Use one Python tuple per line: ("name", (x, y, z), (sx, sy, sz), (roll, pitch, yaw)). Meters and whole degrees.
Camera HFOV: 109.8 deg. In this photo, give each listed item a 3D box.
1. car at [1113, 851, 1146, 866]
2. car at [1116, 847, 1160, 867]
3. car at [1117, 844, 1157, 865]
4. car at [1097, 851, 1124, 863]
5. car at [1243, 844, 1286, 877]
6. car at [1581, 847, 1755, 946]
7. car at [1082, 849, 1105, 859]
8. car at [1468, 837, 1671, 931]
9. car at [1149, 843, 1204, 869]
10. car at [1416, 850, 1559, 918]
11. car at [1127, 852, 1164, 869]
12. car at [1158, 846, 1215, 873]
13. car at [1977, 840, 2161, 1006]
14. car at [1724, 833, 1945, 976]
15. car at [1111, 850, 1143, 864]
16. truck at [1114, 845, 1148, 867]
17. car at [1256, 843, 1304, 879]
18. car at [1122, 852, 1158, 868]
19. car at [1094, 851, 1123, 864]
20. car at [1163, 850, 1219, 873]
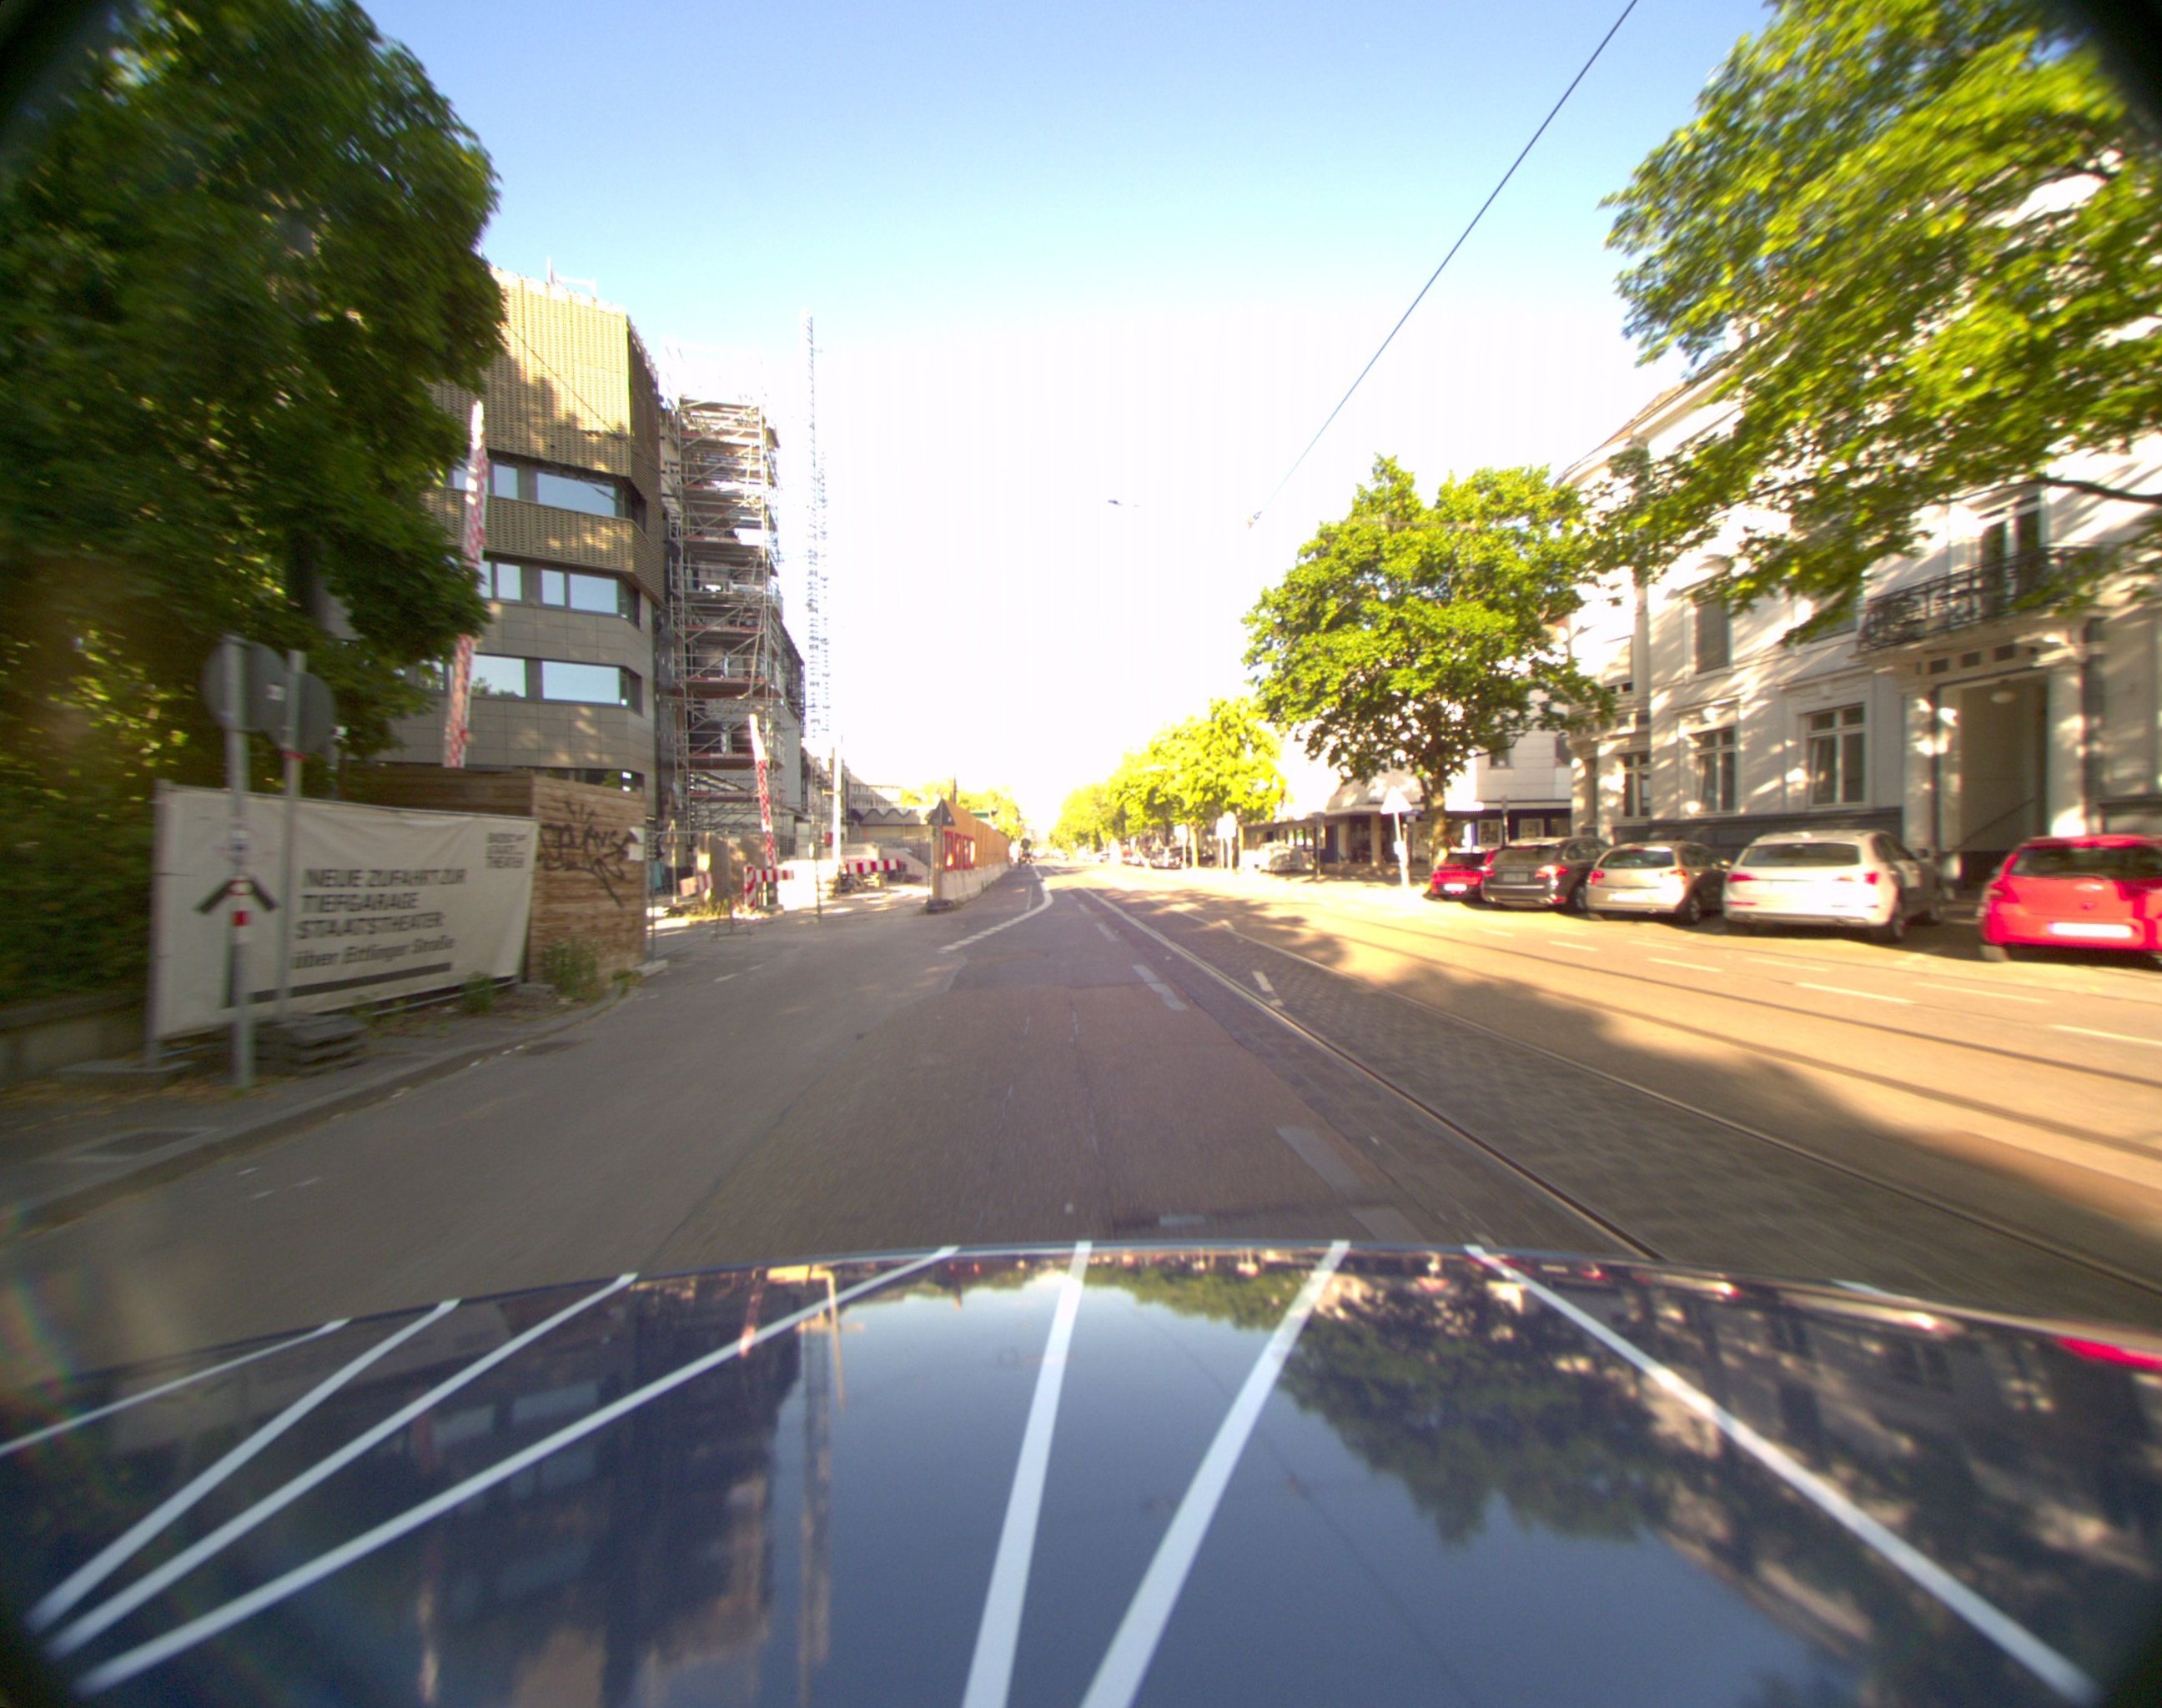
("car", (6.063, 0.514, 95.716), (3.773, 1.584, 1.671), (-4, 1, -9))
("car", (5.769, 0.272, 77.056), (4.102, 1.768, 1.671), (-4, 1, -9))
("car", (5.800, 0.052, 78.954), (3.806, 1.928, 1.671), (-4, 1, -9))
("car", (4.530, 0.524, 117.210), (3.773, 1.584, 1.671), (-4, 1, -9))
("car", (11.176, 0.380, 46.484), (1.672, 1.887, 3.213), (-1, 1, -3))
("car", (11.695, 0.743, 15.072), (3.772, 1.511, 1.744), (-5, 2, -37))
("car", (2.189, 0.044, 131.247), (3.622, 1.492, 1.503), (-4, 1, -9))
("car", (11.299, 0.603, 17.538), (4.364, 1.704, 1.944), (-4, 2, -26))
("car", (8.249, 0.146, 65.766), (4.308, 1.940, 1.671), (-4, 1, -9))
("car", (11.103, 0.737, 20.688), (4.006, 1.478, 1.777), (-4, 2, -35))
("car", (7.197, 0.725, 85.464), (3.773, 1.584, 1.671), (-4, 1, -9))
("car", (8.760, 0.453, 63.044), (4.308, 1.940, 1.671), (-4, 1, -9))
("car", (12.715, 0.693, 9.310), (4.207, 1.549, 1.636), (-4, 1, -32))
("car", (12.056, 0.658, 12.079), (4.207, 1.714, 1.780), (-5, 2, -35))
("car", (5.983, 0.404, 99.550), (3.773, 1.584, 1.671), (-4, 1, -9))
("truck", (6.094, 0.208, 92.906), (3.771, 2.409, 1.672), (-4, 1, -4))
("car", (11.183, 0.369, 42.805), (1.672, 1.887, 3.213), (-1, 1, -3))
("car", (6.858, 0.692, 87.818), (3.773, 1.584, 1.671), (-4, 1, -9))
("car", (3.864, 0.548, 108.155), (3.773, 1.584, 1.671), (-4, 1, -9))
("car", (8.812, 0.594, 61.007), (4.102, 1.561, 1.671), (-4, 1, -9))
